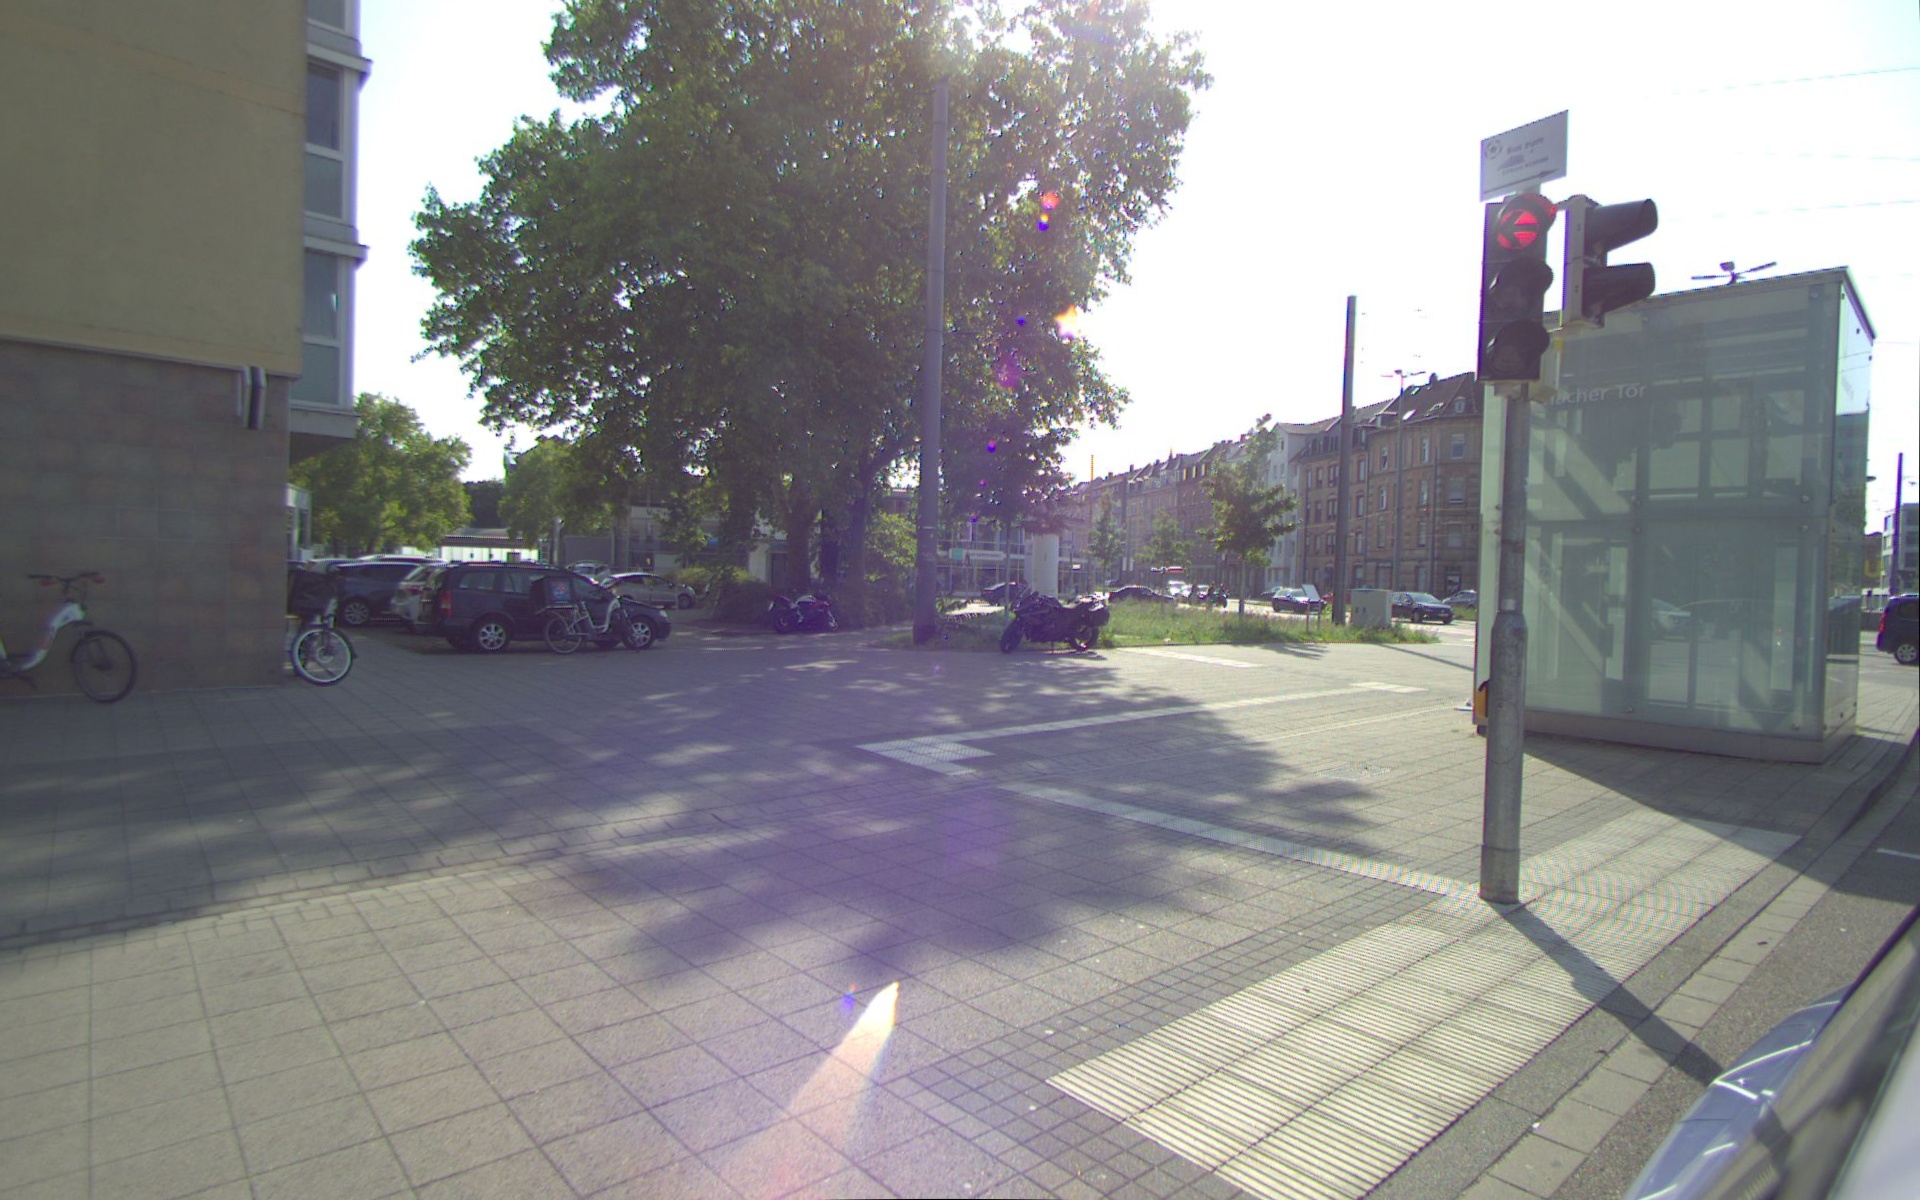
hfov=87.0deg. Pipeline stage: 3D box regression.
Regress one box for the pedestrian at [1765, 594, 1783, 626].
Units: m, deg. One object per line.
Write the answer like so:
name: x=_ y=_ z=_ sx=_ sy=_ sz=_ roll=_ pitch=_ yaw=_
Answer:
pedestrian: x=42.621 y=0.522 z=52.987 sx=0.495 sy=1.661 sz=0.525 roll=2 pitch=0 yaw=-13

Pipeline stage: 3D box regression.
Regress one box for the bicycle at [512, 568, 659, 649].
bicycle: x=-6.126 y=0.132 z=16.674 sx=0.523 sy=1.250 sz=2.264 roll=3 pitch=2 yaw=44

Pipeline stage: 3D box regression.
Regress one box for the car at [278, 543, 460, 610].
car: x=-15.797 y=-0.611 z=27.119 sx=3.929 sy=1.665 sz=1.998 roll=0 pitch=2 yaw=-40

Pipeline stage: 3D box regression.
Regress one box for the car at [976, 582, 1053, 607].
car: x=3.332 y=-0.327 z=62.685 sx=4.305 sy=1.387 sz=2.005 roll=1 pitch=1 yaw=-16

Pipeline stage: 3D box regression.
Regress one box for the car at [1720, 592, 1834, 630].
car: x=39.058 y=0.505 z=48.511 sx=1.707 sy=1.601 sz=3.984 roll=2 pitch=1 yaw=-12

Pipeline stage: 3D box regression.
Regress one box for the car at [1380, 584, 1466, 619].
car: x=22.031 y=0.034 z=48.325 sx=1.766 sy=1.459 sz=3.912 roll=2 pitch=2 yaw=-10

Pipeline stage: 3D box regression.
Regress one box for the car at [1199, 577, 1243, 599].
car: x=19.112 y=-0.877 z=74.278 sx=1.766 sy=1.459 sz=3.638 roll=2 pitch=2 yaw=-10

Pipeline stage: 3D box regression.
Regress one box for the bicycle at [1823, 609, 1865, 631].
bicycle: x=44.217 y=0.997 z=50.625 sx=1.517 sy=1.037 sz=0.428 roll=3 pitch=1 yaw=36

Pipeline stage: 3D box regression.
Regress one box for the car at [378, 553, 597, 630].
car: x=-10.256 y=-0.194 z=22.079 sx=3.929 sy=1.526 sz=1.998 roll=0 pitch=2 yaw=-40

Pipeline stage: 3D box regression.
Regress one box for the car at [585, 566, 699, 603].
car: x=-12.795 y=-0.605 z=40.804 sx=3.931 sy=1.393 sz=1.997 roll=0 pitch=2 yaw=-42

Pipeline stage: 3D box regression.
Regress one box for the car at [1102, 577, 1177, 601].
car: x=11.303 y=-0.709 z=63.899 sx=4.316 sy=1.387 sz=2.000 roll=2 pitch=1 yaw=2

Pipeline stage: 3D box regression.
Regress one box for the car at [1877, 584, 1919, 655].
car: x=26.444 y=0.597 z=25.441 sx=1.765 sy=1.850 sz=4.784 roll=1 pitch=2 yaw=-14

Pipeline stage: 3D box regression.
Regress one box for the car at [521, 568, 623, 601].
car: x=-17.834 y=-0.702 z=46.594 sx=3.931 sy=1.393 sz=1.997 roll=0 pitch=2 yaw=-42

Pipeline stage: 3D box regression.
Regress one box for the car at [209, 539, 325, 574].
car: x=-29.909 y=-1.863 z=43.714 sx=3.931 sy=1.393 sz=1.739 roll=0 pitch=2 yaw=-42

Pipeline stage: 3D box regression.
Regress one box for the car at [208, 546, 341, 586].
car: x=-25.789 y=-1.261 z=38.133 sx=3.931 sy=1.393 sz=1.997 roll=0 pitch=2 yaw=-42

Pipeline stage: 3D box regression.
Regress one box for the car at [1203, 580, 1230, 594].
car: x=28.437 y=-1.483 z=112.270 sx=1.706 sy=1.478 sz=3.844 roll=2 pitch=2 yaw=-4

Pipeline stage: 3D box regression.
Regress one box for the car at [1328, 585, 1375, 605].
car: x=31.135 y=-0.409 z=80.526 sx=1.642 sy=1.465 sz=3.788 roll=2 pitch=1 yaw=-11

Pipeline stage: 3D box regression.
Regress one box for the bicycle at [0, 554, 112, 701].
bicycle: x=-8.583 y=0.231 z=8.972 sx=1.608 sy=1.277 sz=0.469 roll=0 pitch=2 yaw=-42

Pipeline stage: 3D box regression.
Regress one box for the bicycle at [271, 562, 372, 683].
bicycle: x=-7.254 y=0.206 z=11.447 sx=0.659 sy=1.221 sz=2.021 roll=1 pitch=2 yaw=-41

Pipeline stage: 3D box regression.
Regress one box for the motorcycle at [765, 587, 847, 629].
motorcycle: x=-3.936 y=0.196 z=25.851 sx=1.916 sy=1.014 sz=0.707 roll=1 pitch=1 yaw=-25

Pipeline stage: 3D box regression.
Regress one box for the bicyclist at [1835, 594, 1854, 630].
bicyclist: x=44.234 y=0.587 z=50.631 sx=0.583 sy=1.752 sz=0.588 roll=2 pitch=1 yaw=35

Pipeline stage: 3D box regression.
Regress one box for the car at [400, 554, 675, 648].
car: x=-7.306 y=-0.003 z=17.727 sx=4.120 sy=1.459 sz=1.660 roll=0 pitch=2 yaw=-40

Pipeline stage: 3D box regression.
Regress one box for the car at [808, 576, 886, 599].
car: x=-6.695 y=-0.743 z=59.925 sx=4.305 sy=1.180 sz=2.005 roll=1 pitch=1 yaw=-15

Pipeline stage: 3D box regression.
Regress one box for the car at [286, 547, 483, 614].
car: x=-14.167 y=-0.474 z=25.000 sx=3.929 sy=1.526 sz=1.998 roll=0 pitch=2 yaw=-40

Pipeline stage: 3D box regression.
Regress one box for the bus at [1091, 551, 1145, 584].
bus: x=15.945 y=-3.304 z=103.144 sx=2.840 sy=3.021 sz=11.510 roll=2 pitch=2 yaw=-4

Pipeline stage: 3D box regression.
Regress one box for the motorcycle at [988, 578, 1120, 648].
motorcycle: x=1.670 y=0.233 z=17.942 sx=2.253 sy=1.161 sz=0.707 roll=1 pitch=1 yaw=-25
